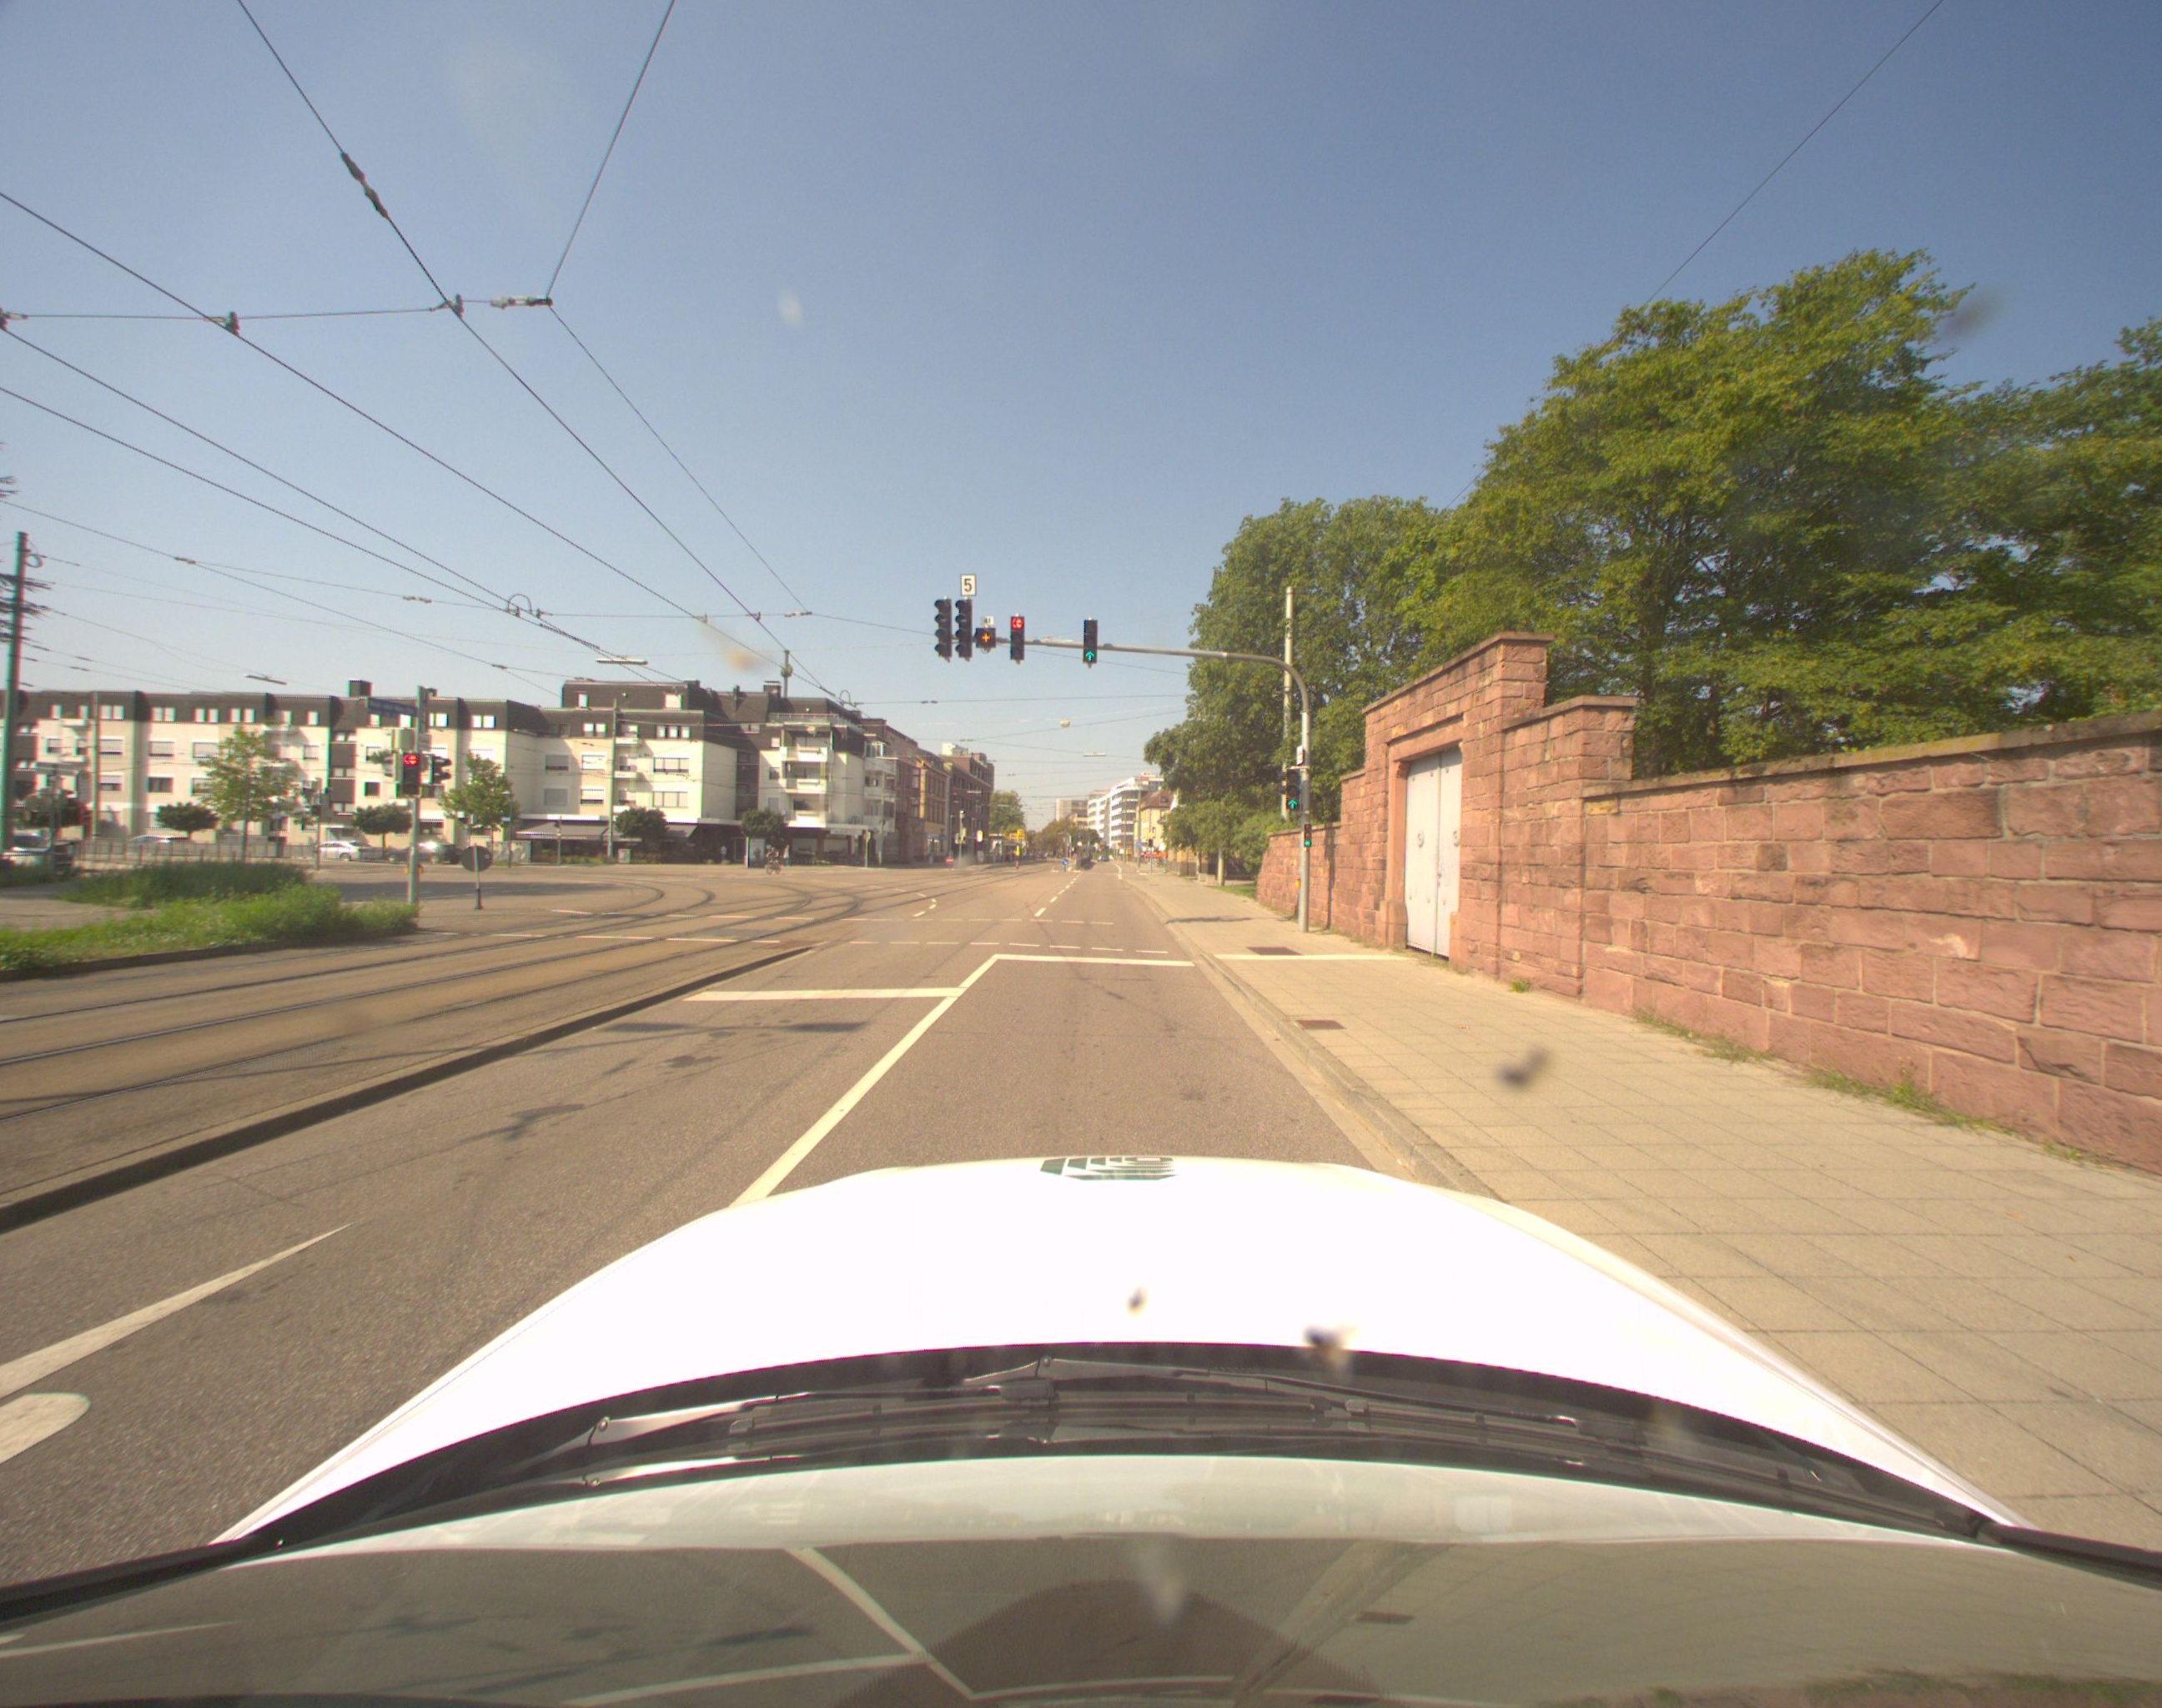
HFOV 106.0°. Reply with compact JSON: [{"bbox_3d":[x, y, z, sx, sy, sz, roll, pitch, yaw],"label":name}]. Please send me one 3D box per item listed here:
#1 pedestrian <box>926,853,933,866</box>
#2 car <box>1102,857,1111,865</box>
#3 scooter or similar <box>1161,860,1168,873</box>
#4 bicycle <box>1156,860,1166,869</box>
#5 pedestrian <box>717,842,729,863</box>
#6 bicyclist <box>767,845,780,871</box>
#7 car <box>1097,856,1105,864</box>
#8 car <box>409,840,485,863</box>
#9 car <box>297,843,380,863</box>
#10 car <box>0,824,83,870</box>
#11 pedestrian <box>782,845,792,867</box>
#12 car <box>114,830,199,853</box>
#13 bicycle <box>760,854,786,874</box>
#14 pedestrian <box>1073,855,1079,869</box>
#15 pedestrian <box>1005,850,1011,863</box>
[{"bbox_3d":[-18.405,0.666,99.089,0.479,1.560,0.890,2,-2,13],"label":"pedestrian"},{"bbox_3d":[6.113,1.626,192.933,2.003,1.859,4.003,0,0,3],"label":"car"},{"bbox_3d":[7.328,1.098,71.261,0.521,1.133,1.512,0,-1,2],"label":"scooter or similar"},{"bbox_3d":[10.123,1.360,103.033,0.730,1.133,2.834,-2,0,-5],"label":"bicycle"},{"bbox_3d":[-29.812,-0.146,67.750,0.677,1.741,0.698,0,-1,3],"label":"pedestrian"},{"bbox_3d":[-18.474,0.252,48.910,0.566,1.523,0.490,0,-1,3],"label":"bicyclist"},{"bbox_3d":[4.907,1.401,199.090,2.003,1.859,4.003,0,0,3],"label":"car"},{"bbox_3d":[-47.424,-0.170,60.966,4.095,1.507,1.930,3,0,1],"label":"car"},{"bbox_3d":[-50.219,-0.057,55.131,4.095,1.299,1.673,0,-1,0],"label":"car"},{"bbox_3d":[-46.900,-0.339,35.765,3.996,1.886,1.825,2,0,3],"label":"car"},{"bbox_3d":[-23.907,0.180,66.235,0.602,1.745,0.560,0,-1,-32],"label":"pedestrian"},{"bbox_3d":[-63.024,-0.820,55.560,3.891,1.481,1.673,0,-1,1],"label":"car"},{"bbox_3d":[-18.474,0.599,48.918,0.572,1.179,2.210,-1,0,4],"label":"bicycle"},{"bbox_3d":[-0.578,0.958,99.678,0.717,1.703,0.885,0,-1,2],"label":"pedestrian"},{"bbox_3d":[-9.781,0.388,109.668,0.705,1.747,0.799,0,-1,2],"label":"pedestrian"}]
